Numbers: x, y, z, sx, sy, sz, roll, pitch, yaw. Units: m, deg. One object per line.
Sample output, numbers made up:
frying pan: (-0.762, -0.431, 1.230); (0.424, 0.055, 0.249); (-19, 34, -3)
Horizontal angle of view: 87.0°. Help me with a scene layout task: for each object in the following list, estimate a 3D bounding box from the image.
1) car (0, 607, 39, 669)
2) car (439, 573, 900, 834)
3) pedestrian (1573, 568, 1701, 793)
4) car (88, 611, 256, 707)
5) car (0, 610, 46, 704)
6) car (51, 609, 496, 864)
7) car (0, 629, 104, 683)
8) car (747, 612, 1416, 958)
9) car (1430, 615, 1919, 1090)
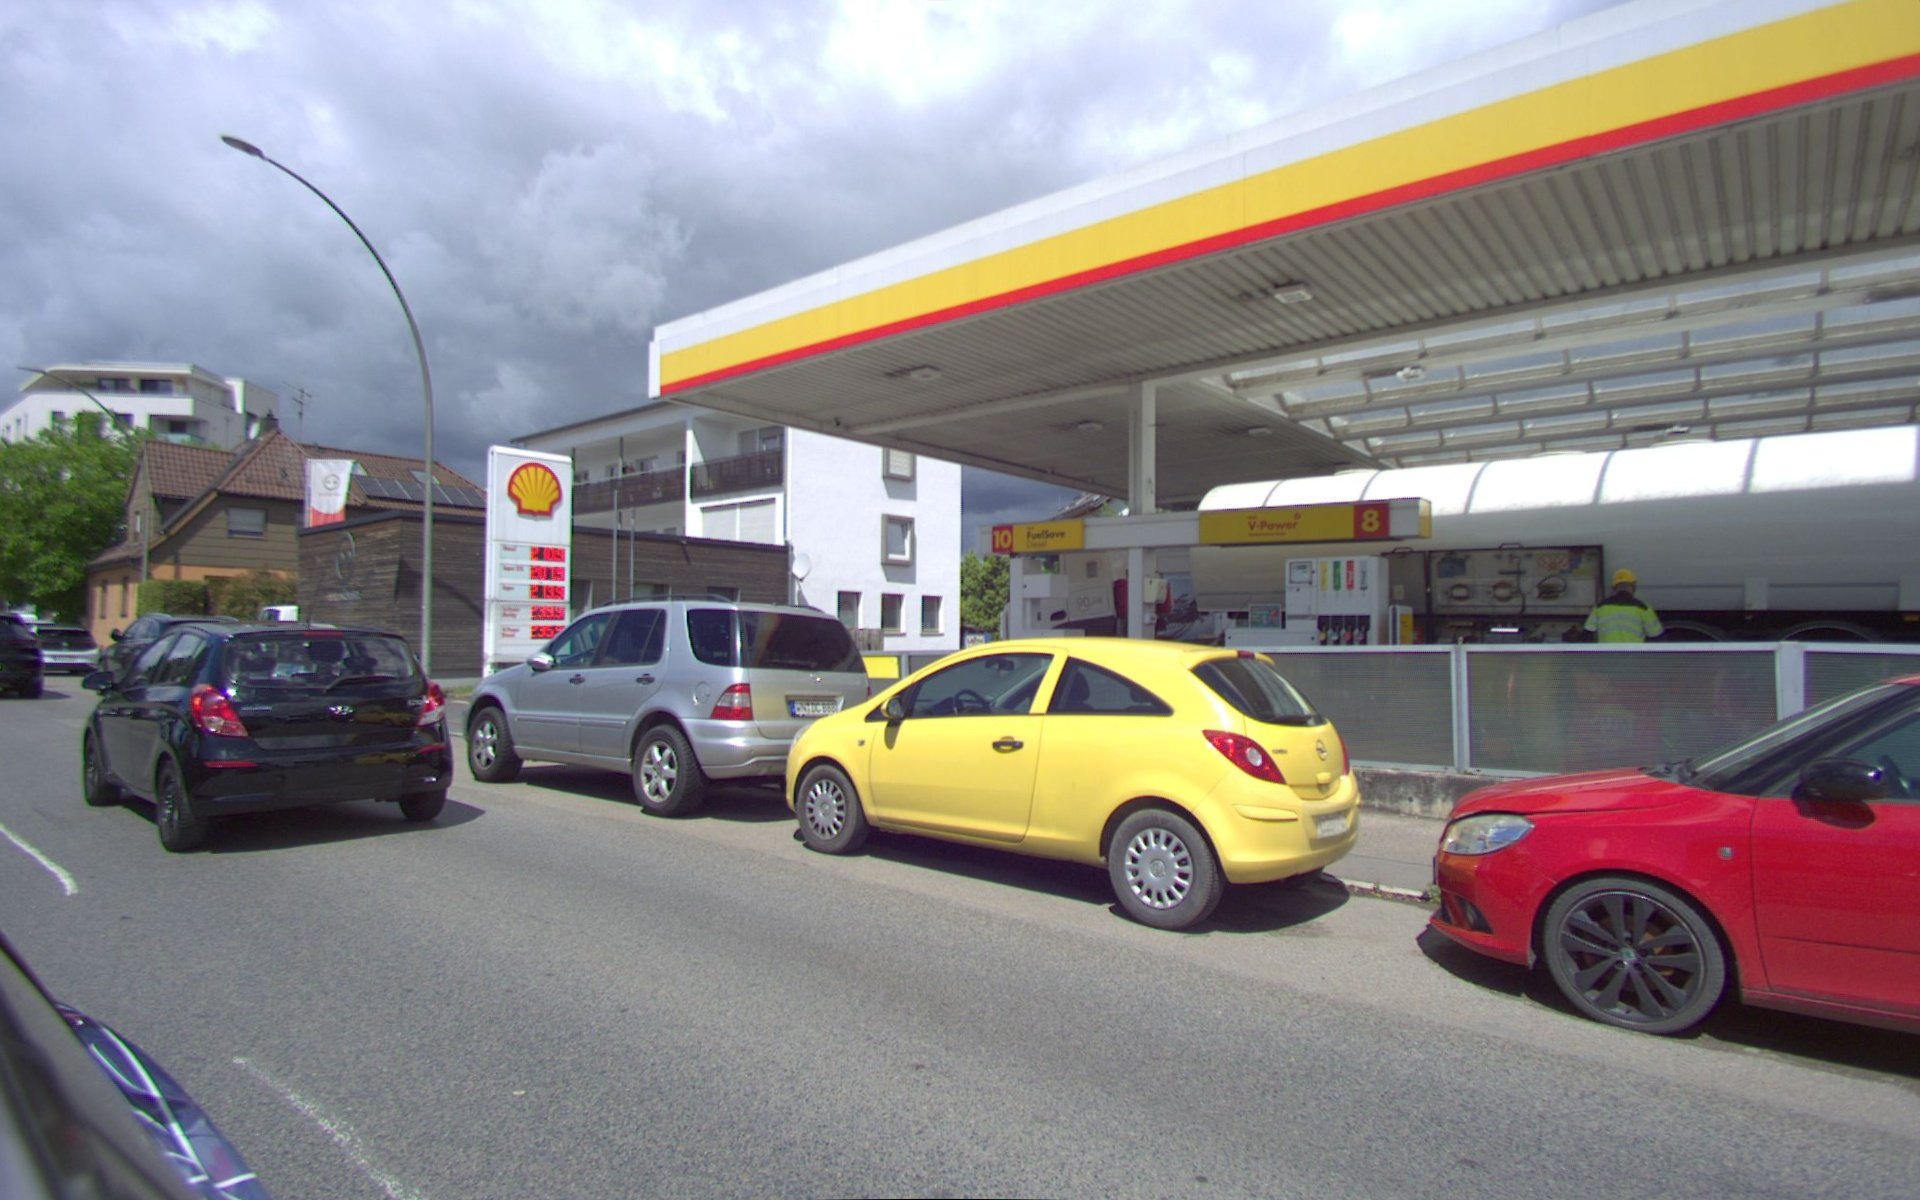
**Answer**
car: (-36.105, 1.484, 37.951); (4.530, 2.196, 1.766); (-4, -3, 40)
car: (-2.800, 0.836, 9.342); (4.309, 1.882, 1.768); (-1, -6, 37)
pedestrian: (7.089, 0.789, 10.590); (1.011, 2.195, 0.929); (-1, 0, 39)
car: (-15.859, 1.187, 20.290); (4.530, 1.718, 1.766); (-4, -3, 40)
car: (-19.582, 1.075, 19.825); (4.534, 1.723, 2.037); (-1, -2, 42)
car: (-5.485, 0.863, 7.909); (3.978, 1.485, 1.828); (-1, -3, 40)
car: (-27.547, 1.716, 30.647); (4.530, 1.514, 1.766); (-4, -3, 40)
car: (0.568, 0.917, 6.425); (3.943, 1.526, 1.645); (-1, -6, 41)
car: (4.101, 0.878, 3.538); (4.187, 1.526, 1.646); (-1, -6, 40)
